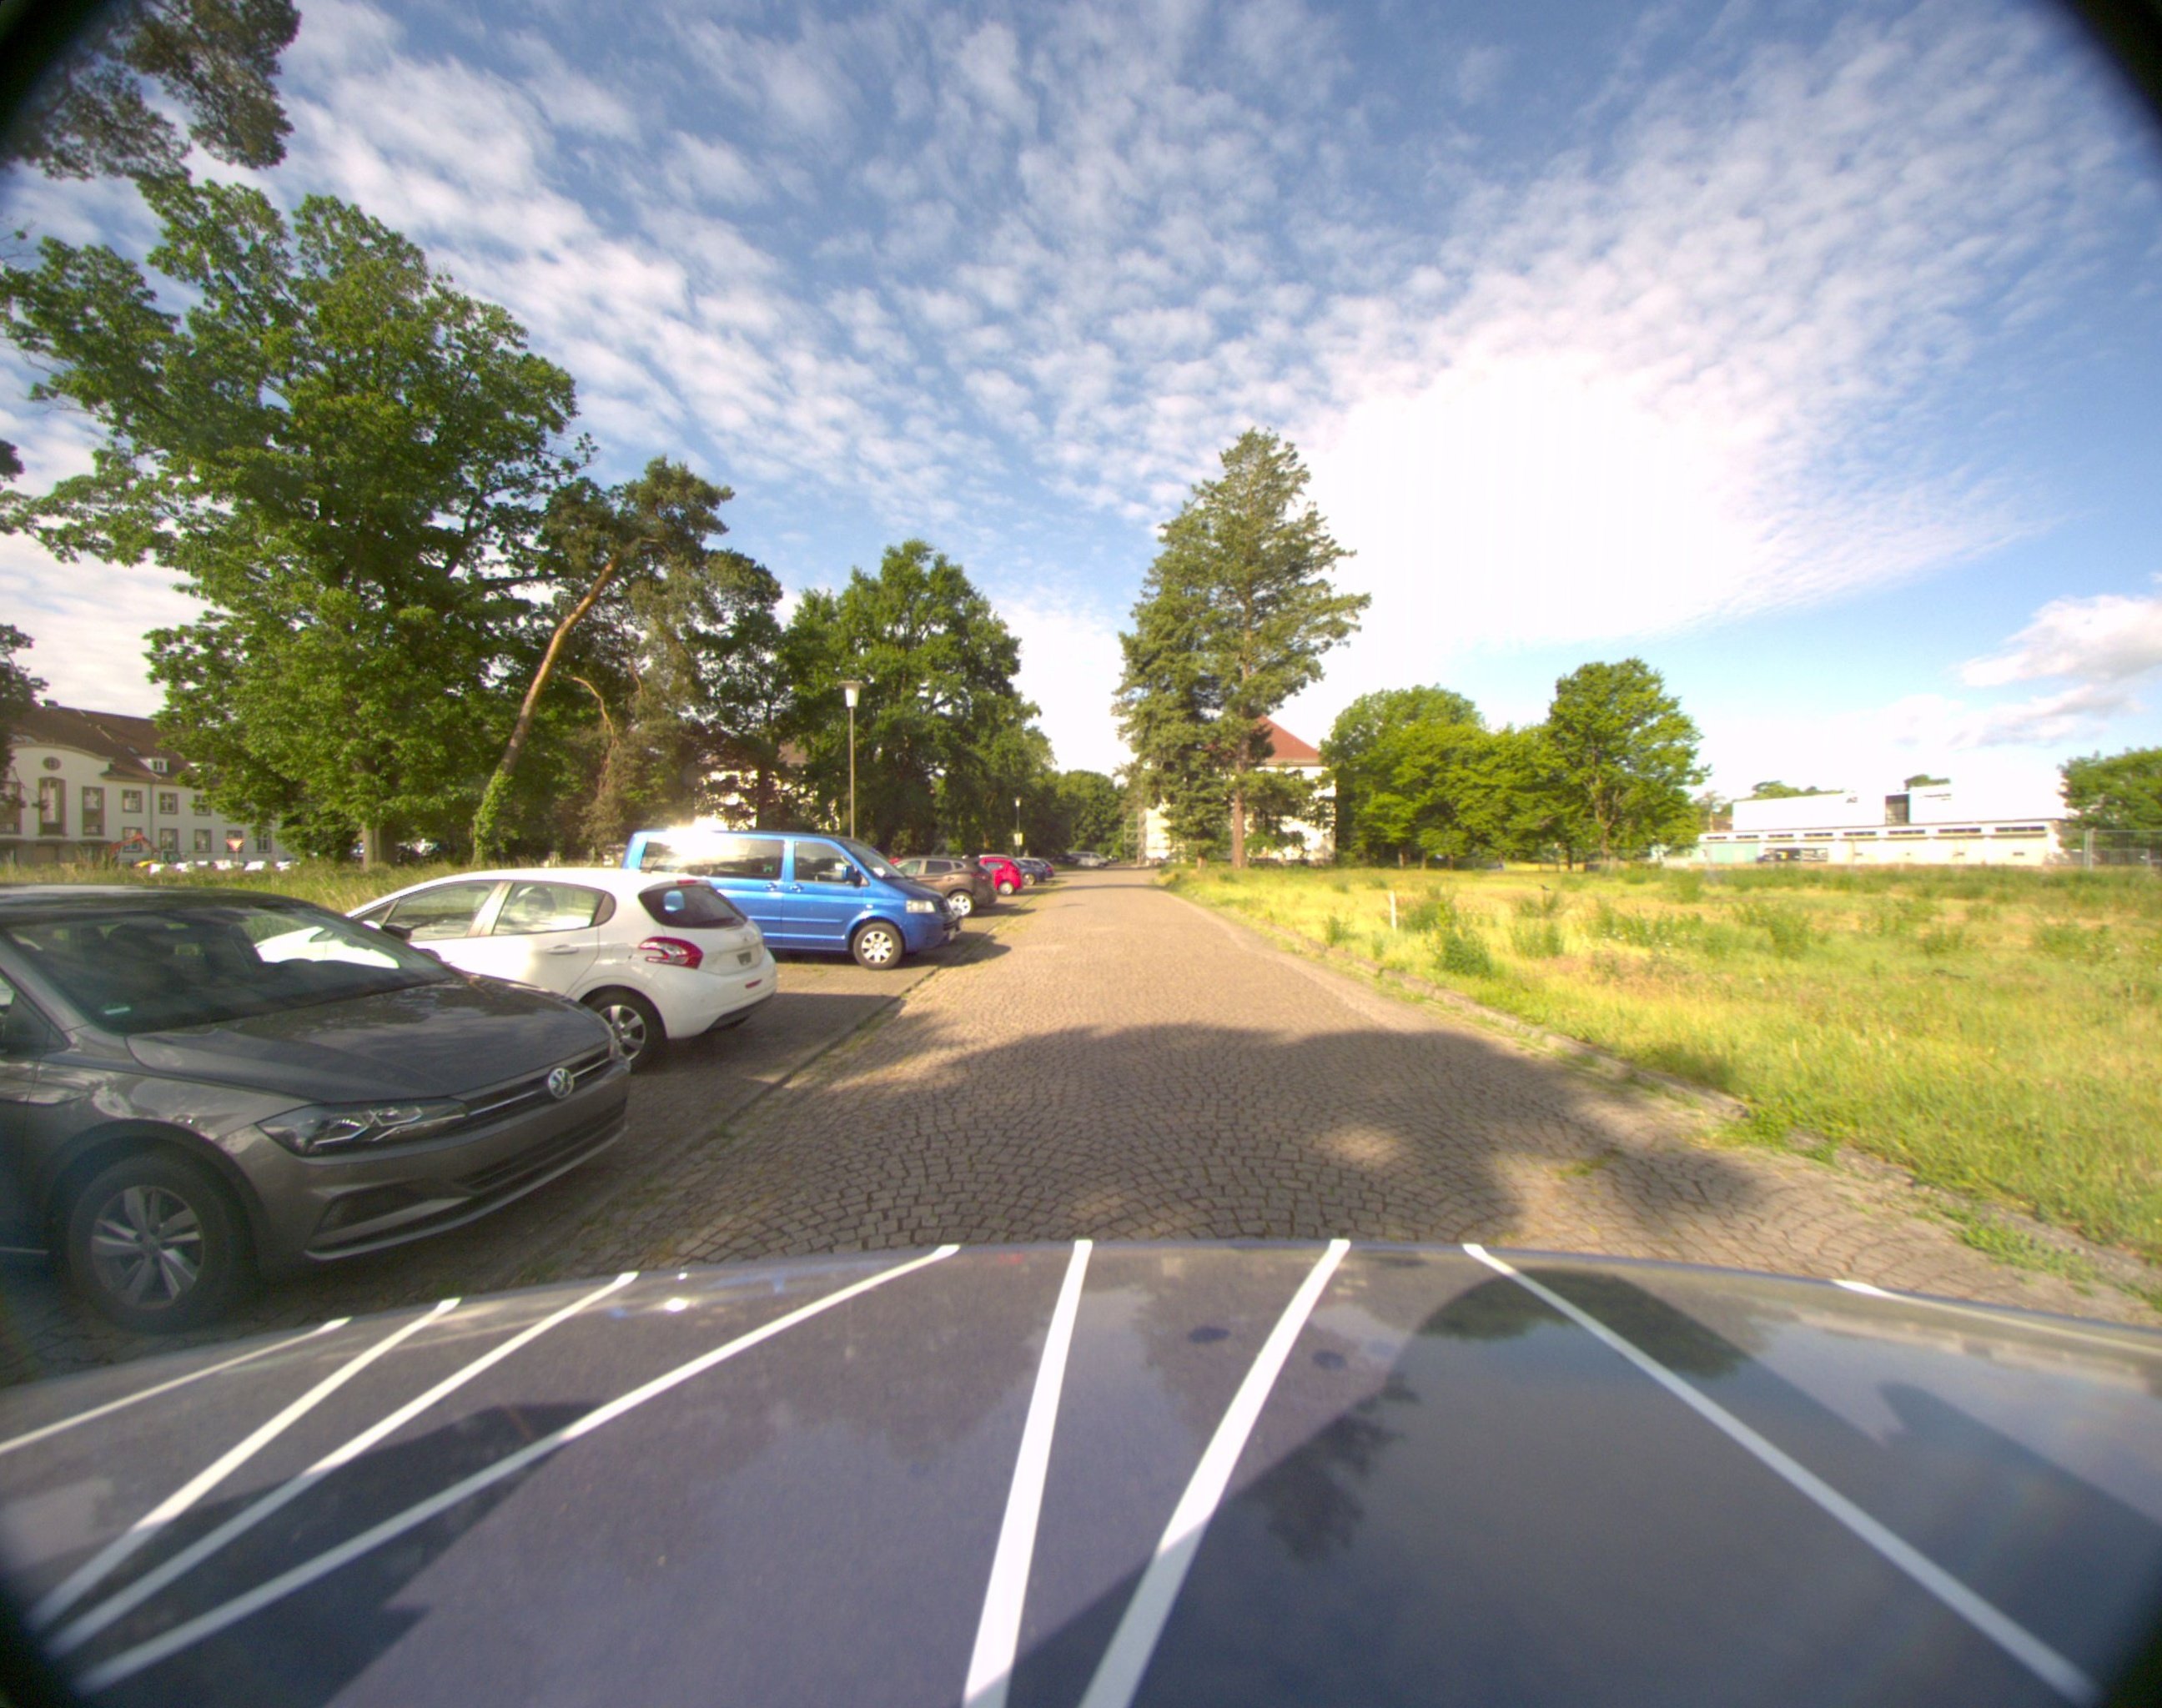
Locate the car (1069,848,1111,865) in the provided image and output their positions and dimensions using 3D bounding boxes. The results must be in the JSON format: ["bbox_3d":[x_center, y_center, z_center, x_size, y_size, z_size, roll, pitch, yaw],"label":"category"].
[{"bbox_3d":[1.105,0.295,94.410,4.933,2.002,1.999,1,1,-5],"label":"car"}]

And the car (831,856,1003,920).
[{"bbox_3d":[-4.284,0.883,20.407,4.237,1.589,1.934,0,1,-2],"label":"car"}]

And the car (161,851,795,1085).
[{"bbox_3d":[-4.522,0.781,6.129,3.716,1.525,1.761,1,0,2],"label":"car"}]

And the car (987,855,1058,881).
[{"bbox_3d":[-3.465,0.844,45.710,4.097,1.415,1.784,1,0,0],"label":"car"}]

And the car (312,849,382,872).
[{"bbox_3d":[-66.783,0.586,69.223,1.906,1.928,4.395,-2,1,2],"label":"car"}]

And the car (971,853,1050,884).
[{"bbox_3d":[-3.758,0.775,41.026,4.097,1.548,1.853,1,0,0],"label":"car"}]

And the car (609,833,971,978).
[{"bbox_3d":[-4.202,0.707,11.559,4.710,1.924,2.000,1,1,1],"label":"car"}]

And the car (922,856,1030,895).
[{"bbox_3d":[-4.182,0.853,30.807,4.097,1.451,1.853,1,0,0],"label":"car"}]

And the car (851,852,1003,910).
[{"bbox_3d":[-4.581,0.796,23.118,4.237,1.589,1.934,1,1,-2],"label":"car"}]

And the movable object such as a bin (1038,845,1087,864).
[{"bbox_3d":[-2.006,0.078,81.487,4.865,2.002,2.002,-1,0,14],"label":"movable object such as a bin"}]

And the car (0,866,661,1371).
[{"bbox_3d":[-4.208,0.827,3.300,3.716,1.440,1.856,1,0,2],"label":"car"}]

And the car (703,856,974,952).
[{"bbox_3d":[-4.358,0.869,14.182,4.408,1.568,1.939,1,1,1],"label":"car"}]

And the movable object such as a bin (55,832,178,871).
[{"bbox_3d":[-87.899,-0.283,69.455,6.460,3.282,2.859,-3,2,-42],"label":"movable object such as a bin"}]
